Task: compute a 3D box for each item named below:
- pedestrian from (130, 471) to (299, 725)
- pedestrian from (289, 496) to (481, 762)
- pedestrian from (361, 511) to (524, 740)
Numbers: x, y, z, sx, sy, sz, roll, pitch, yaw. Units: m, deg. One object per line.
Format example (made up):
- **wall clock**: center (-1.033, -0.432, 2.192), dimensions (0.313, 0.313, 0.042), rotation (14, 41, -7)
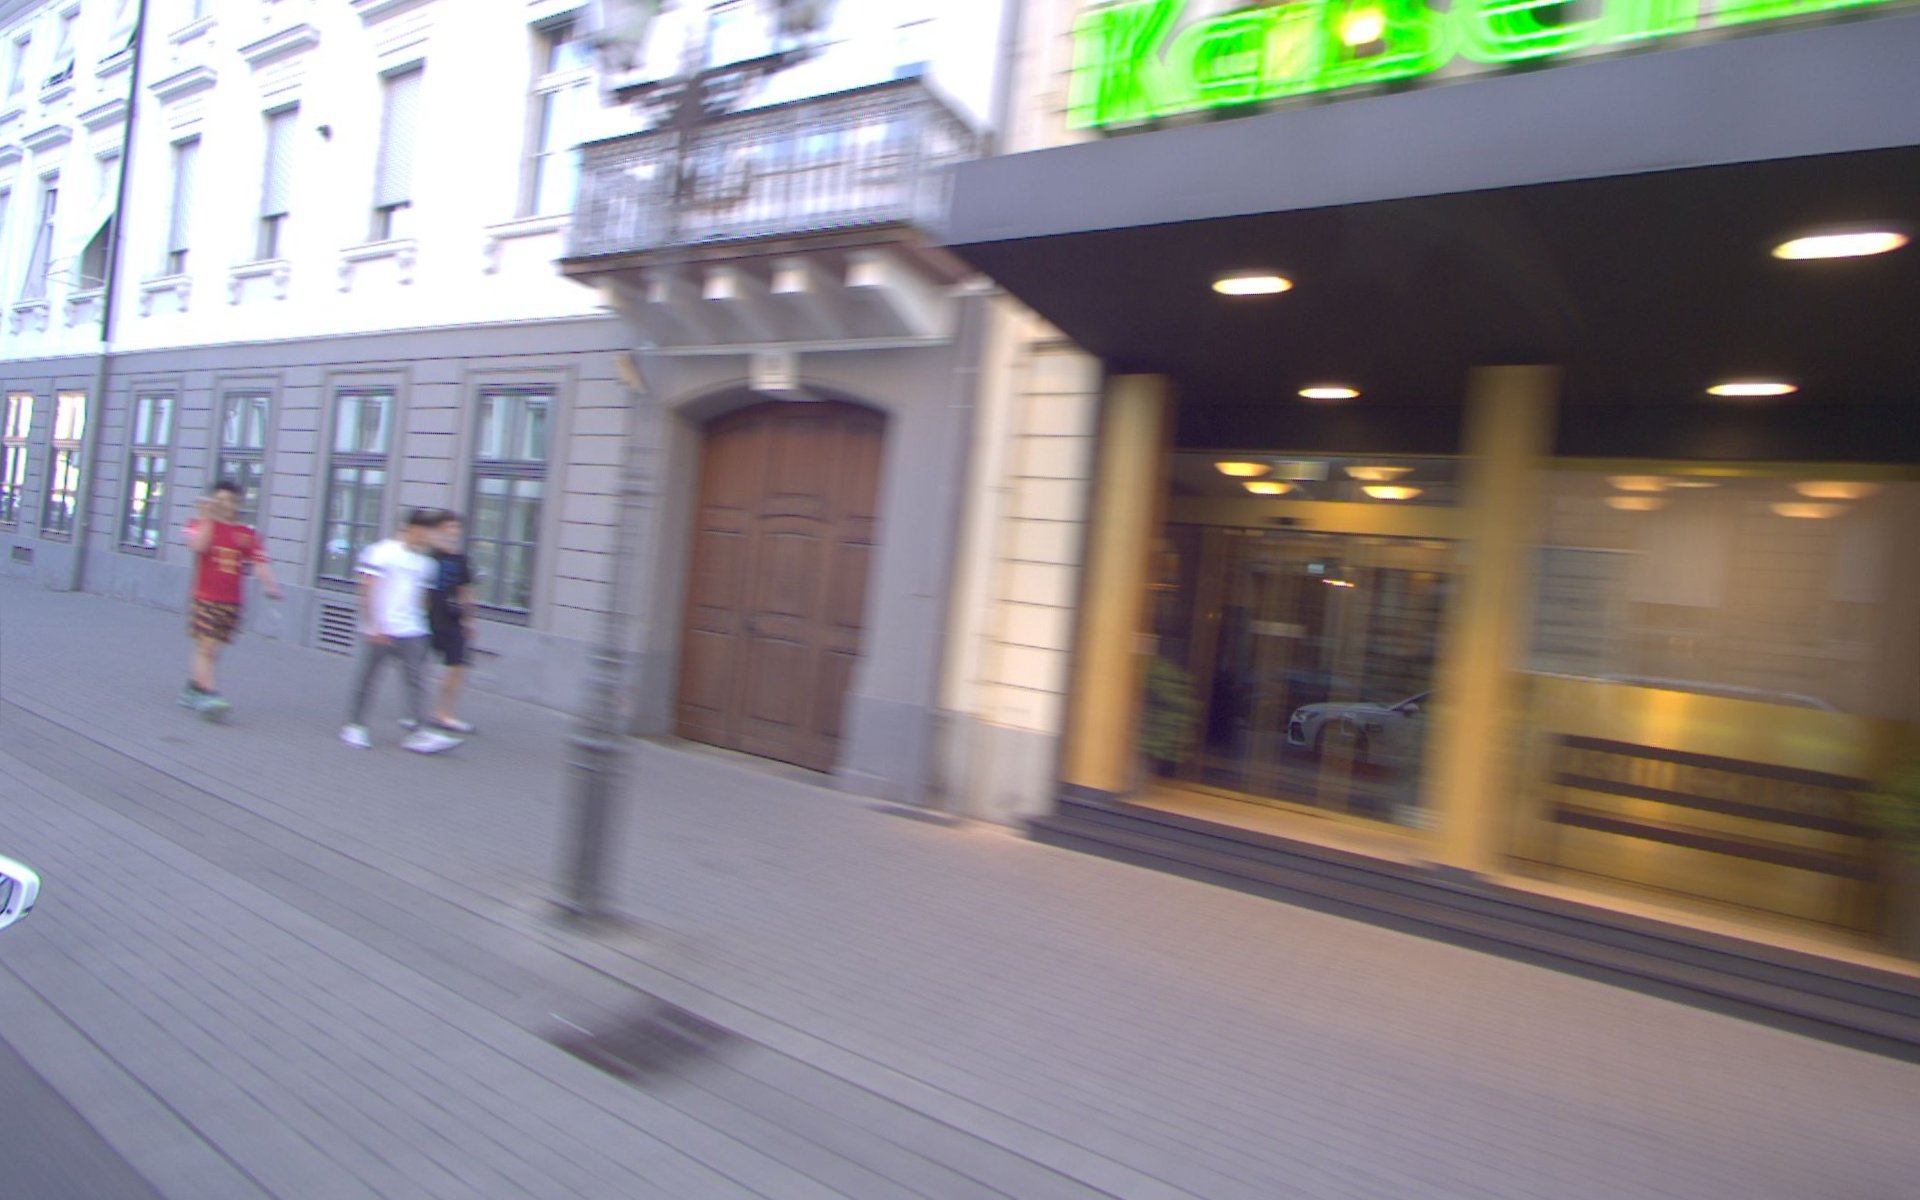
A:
- **pedestrian**: center (-5.727, -0.021, 7.729), dimensions (0.898, 1.811, 0.621), rotation (7, 0, 33)
- **pedestrian**: center (-4.141, 0.199, 7.257), dimensions (0.867, 1.751, 0.748), rotation (7, 0, 35)
- **pedestrian**: center (-4.283, 0.208, 8.334), dimensions (0.859, 1.751, 0.714), rotation (7, 0, 34)
